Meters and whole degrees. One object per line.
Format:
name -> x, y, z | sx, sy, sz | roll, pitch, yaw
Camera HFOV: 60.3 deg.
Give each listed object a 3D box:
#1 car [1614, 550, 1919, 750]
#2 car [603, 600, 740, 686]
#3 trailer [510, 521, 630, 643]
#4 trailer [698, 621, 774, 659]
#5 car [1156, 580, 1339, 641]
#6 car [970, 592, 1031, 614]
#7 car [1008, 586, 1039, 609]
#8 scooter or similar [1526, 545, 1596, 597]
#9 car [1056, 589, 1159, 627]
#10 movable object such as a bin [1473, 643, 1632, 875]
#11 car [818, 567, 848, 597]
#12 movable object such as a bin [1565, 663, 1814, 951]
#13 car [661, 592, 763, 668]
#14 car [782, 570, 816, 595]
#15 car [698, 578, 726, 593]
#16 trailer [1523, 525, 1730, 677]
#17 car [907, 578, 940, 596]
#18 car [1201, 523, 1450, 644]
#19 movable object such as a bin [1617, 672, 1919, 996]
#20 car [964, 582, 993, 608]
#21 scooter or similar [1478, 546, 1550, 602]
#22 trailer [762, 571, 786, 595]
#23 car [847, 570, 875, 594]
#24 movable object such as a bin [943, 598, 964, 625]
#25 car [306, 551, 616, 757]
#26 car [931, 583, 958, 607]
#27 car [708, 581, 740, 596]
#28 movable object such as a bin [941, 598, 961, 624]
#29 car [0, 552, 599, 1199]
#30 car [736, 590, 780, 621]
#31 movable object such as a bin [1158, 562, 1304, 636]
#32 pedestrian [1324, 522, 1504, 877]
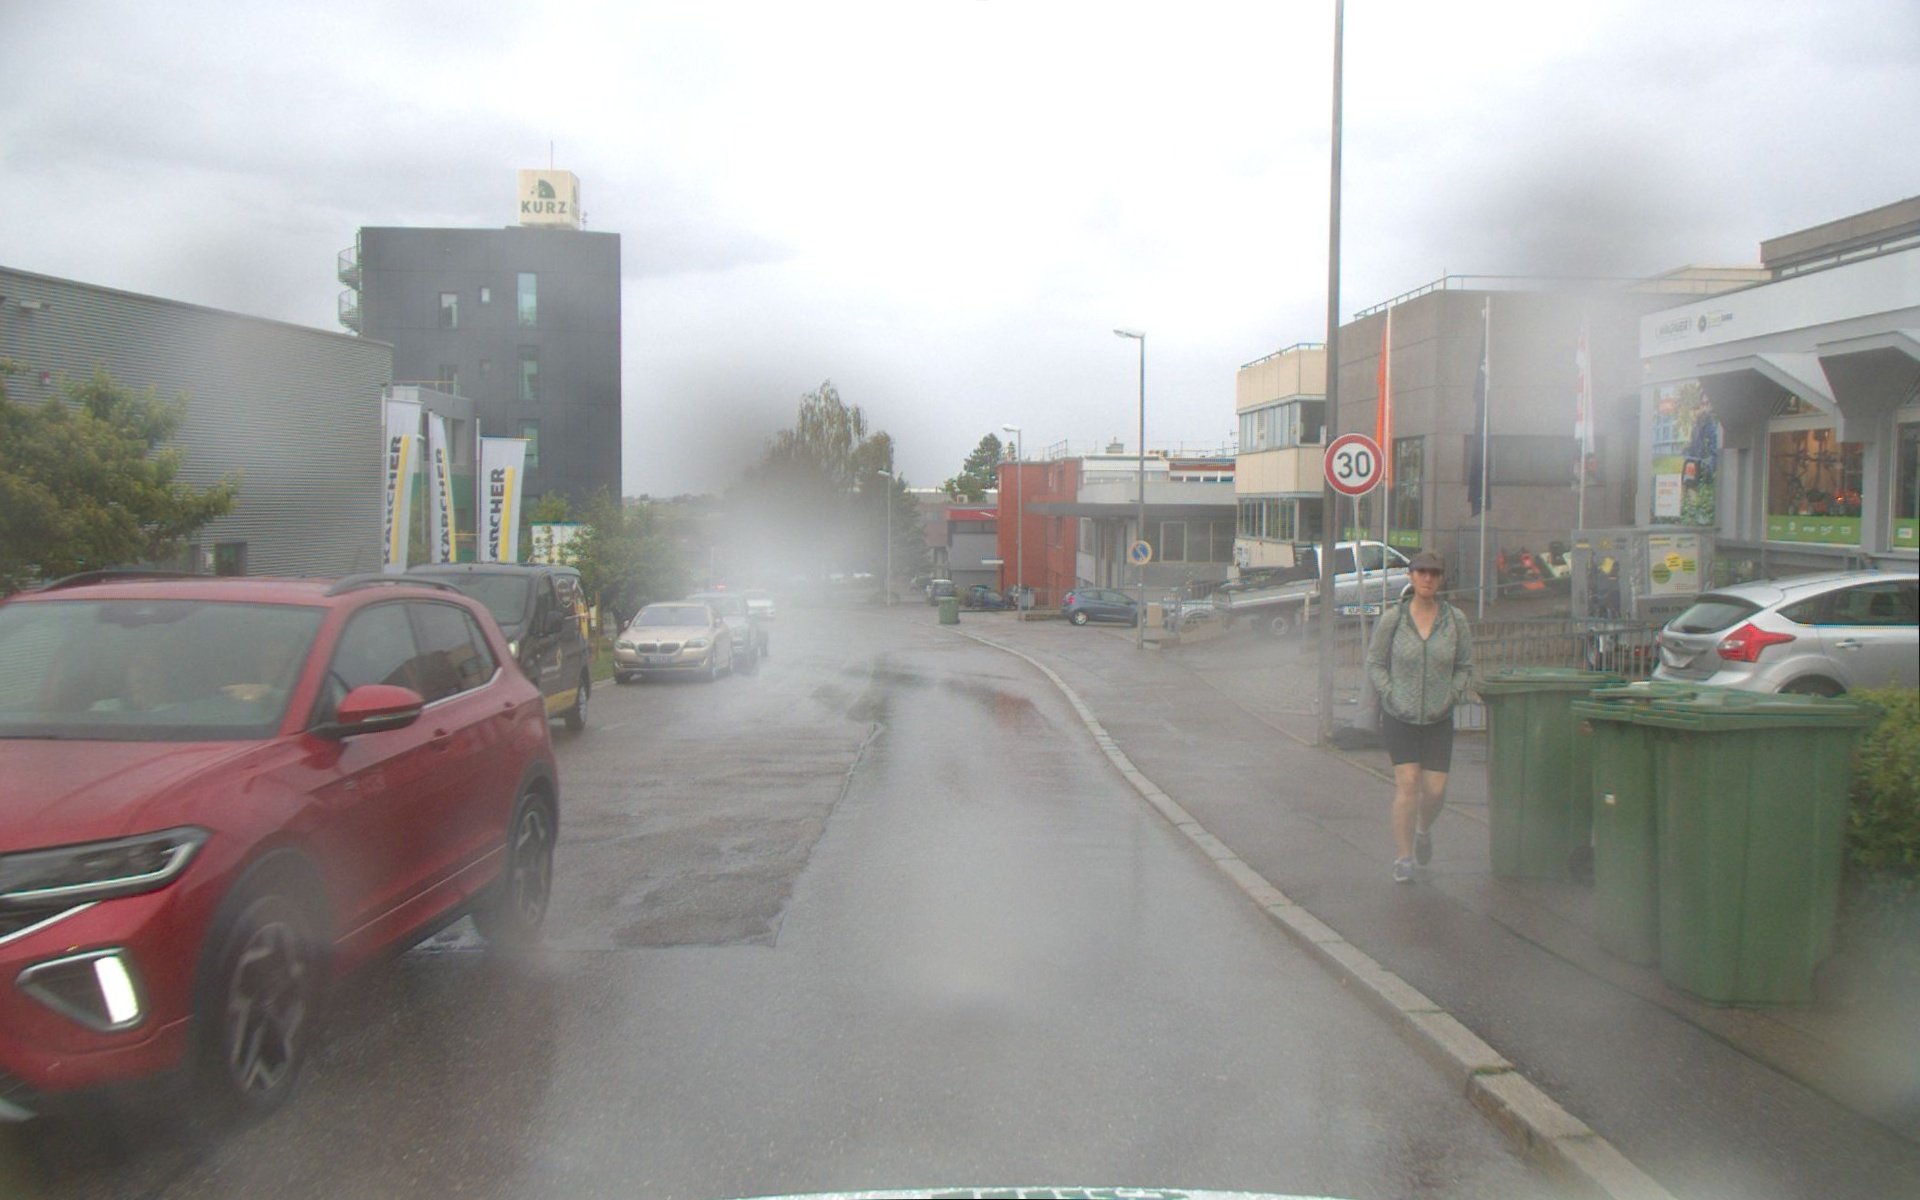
car -> 8.367, 0.368, 14.976 | 4.039, 1.601, 2.002 | -3, 0, -3
car -> -5.474, 0.762, 32.037 | 1.917, 1.486, 5.245 | -1, 0, -2
trailer -> -14.132, -0.603, 59.857 | 4.102, 4.276, 1.999 | -1, 0, 36
trailer -> -5.748, 1.010, 42.788 | 1.647, 0.904, 3.894 | -1, 0, -4
car -> 8.428, 0.277, 48.653 | 4.990, 1.642, 1.924 | -1, 1, -3
car -> 2.238, 0.164, 92.162 | 3.331, 1.183, 1.791 | 0, 0, -1
car -> 4.207, -0.161, 109.854 | 1.694, 1.446, 3.998 | -1, 0, -3
scooter or similar -> 14.840, -0.704, 40.900 | 0.983, 1.175, 1.845 | -4, 0, 0
car -> 5.818, 0.306, 65.405 | 3.817, 1.408, 1.819 | 1, -1, -4
movable object such as a bin -> 3.091, 0.804, 8.690 | 0.713, 1.133, 0.704 | 0, 0, 14
car -> -11.074, -1.552, 144.287 | 2.153, 2.502, 3.989 | -1, -1, -11
movable object such as a bin -> 2.938, 0.812, 6.714 | 0.728, 1.085, 0.636 | 0, 0, -1
car -> -5.678, 0.662, 38.410 | 1.918, 1.604, 4.836 | -1, 0, -4
car -> -14.000, -1.538, 143.700 | 2.229, 2.049, 3.980 | -1, 0, -18
car -> -29.077, -1.715, 193.948 | 1.972, 1.734, 3.961 | 0, -1, -29
trailer -> 11.607, -0.026, 29.137 | 1.848, 2.459, 4.308 | -1, 1, -1
car -> -2.894, -1.022, 131.876 | 2.500, 1.375, 1.240 | 0, 0, -8
car -> 8.637, -0.380, 39.378 | 5.197, 2.047, 2.221 | -8, 0, -3
movable object such as a bin -> 2.916, 0.805, 5.978 | 0.756, 1.048, 0.808 | 0, 0, -1
car -> 1.242, -0.296, 110.642 | 1.704, 1.682, 3.998 | -1, 0, -3
scooter or similar -> 13.646, -0.658, 40.795 | 1.043, 1.245, 2.065 | -4, 2, 0
trailer -> -16.616, -1.511, 147.573 | 1.819, 2.049, 3.991 | 0, 1, -10
car -> -8.726, -1.593, 145.389 | 2.106, 2.049, 3.931 | -1, 0, -9
movable object such as a bin -> -0.274, 0.468, 69.411 | 0.791, 1.112, 0.708 | -1, 0, -8
car -> -5.019, 0.487, 17.407 | 1.877, 1.863, 4.846 | 0, 0, -1
car -> -1.050, -0.314, 109.845 | 1.663, 1.501, 3.998 | -1, 0, -3
car -> -26.885, -1.289, 188.495 | 2.434, 1.566, 3.961 | 0, -1, -29
movable object such as a bin -> -0.399, 0.470, 70.053 | 0.760, 1.094, 0.582 | -1, 0, -8
car -> -2.655, 0.672, 5.913 | 1.711, 1.535, 3.936 | 0, -1, 2
car -> -10.542, 0.303, 86.102 | 1.740, 1.539, 4.130 | -1, 0, -14
movable object such as a bin -> 8.243, -0.045, 50.530 | 4.168, 2.147, 1.476 | -1, 0, -2
pedestrian -> 2.390, 0.502, 8.793 | 0.721, 1.798, 0.808 | 0, 0, -1
